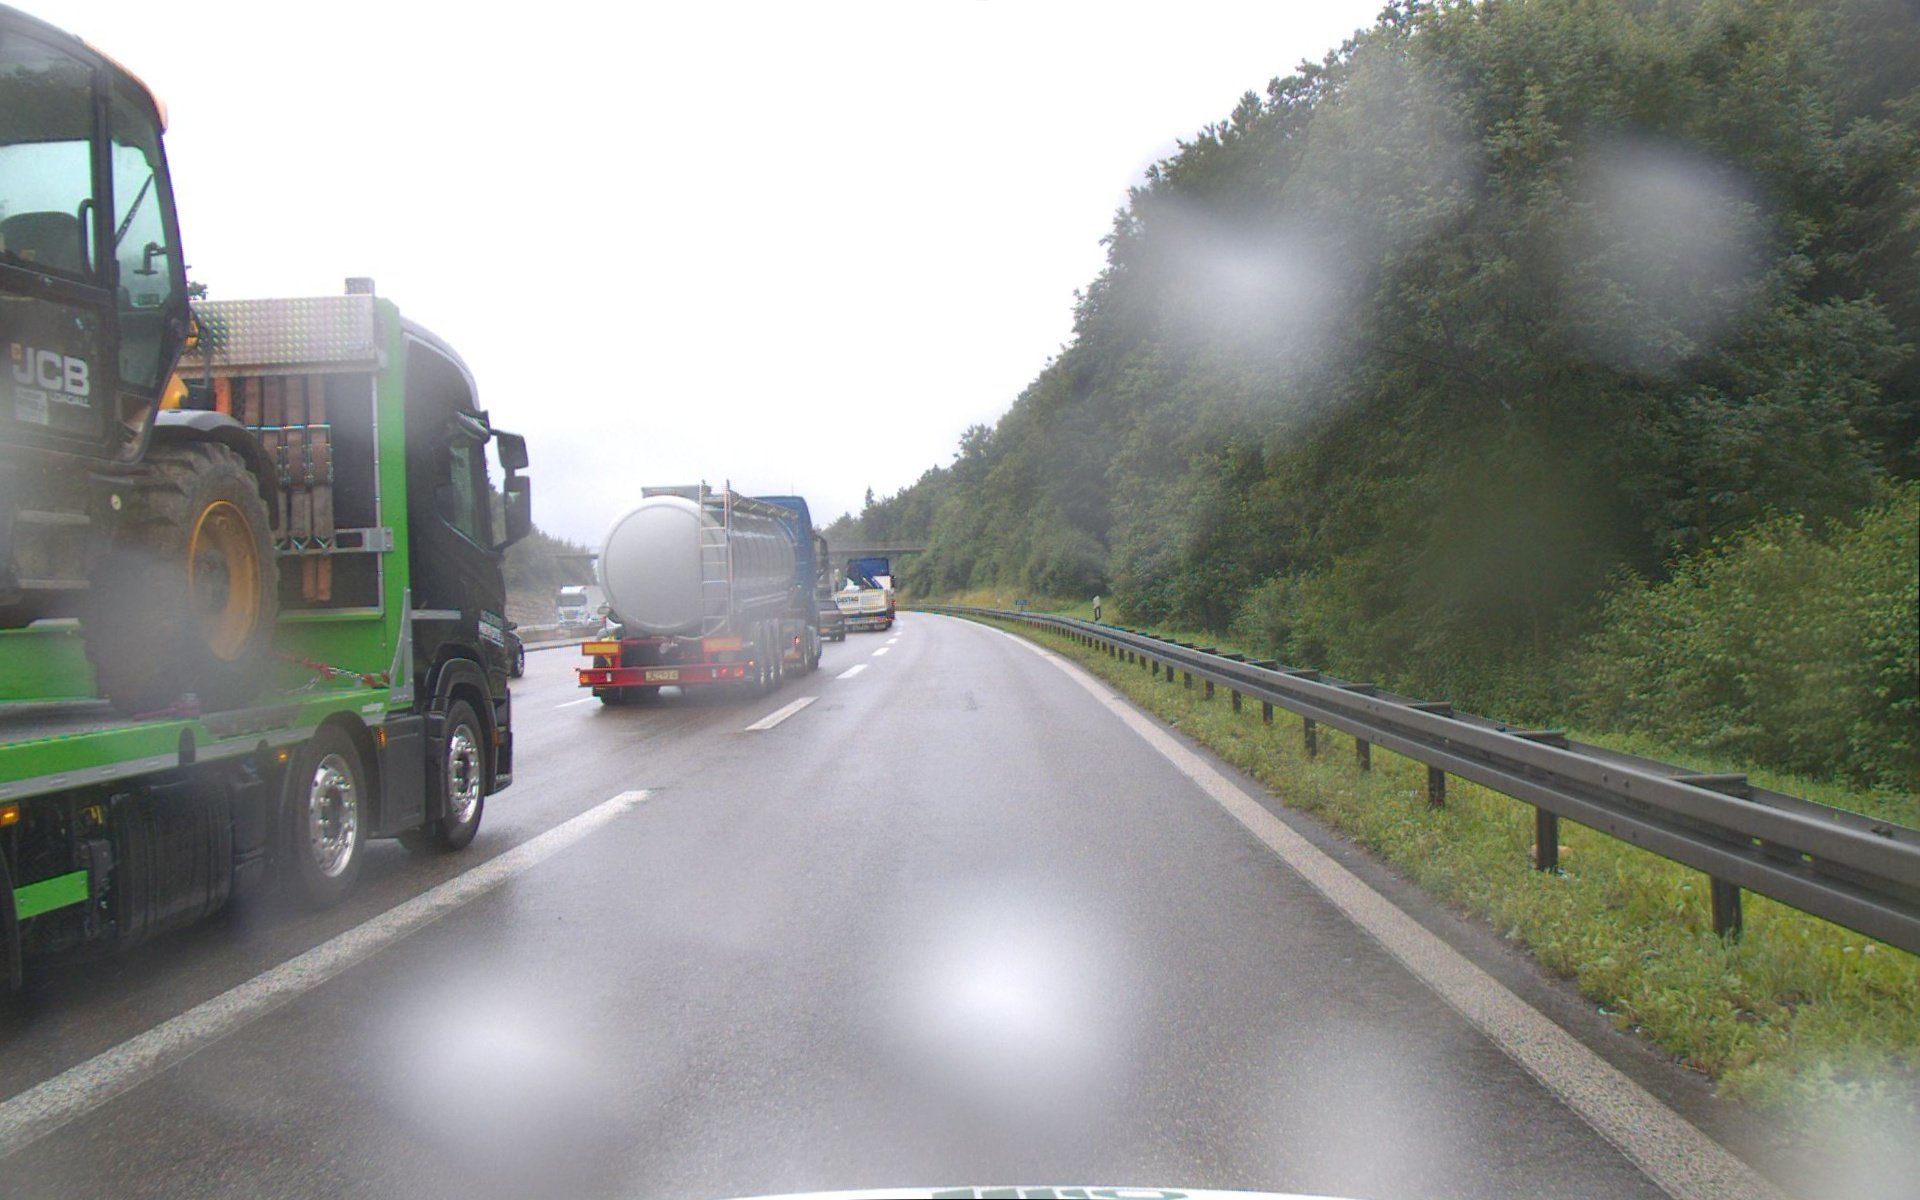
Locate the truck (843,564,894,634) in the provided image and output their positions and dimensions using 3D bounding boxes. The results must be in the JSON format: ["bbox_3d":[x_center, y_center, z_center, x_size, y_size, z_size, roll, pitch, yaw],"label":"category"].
[{"bbox_3d":[-8.086,0.036,146.934,4.249,5.865,9.724,2,-2,-3],"label":"truck"}]

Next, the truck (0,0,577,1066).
[{"bbox_3d":[-4.296,-0.371,5.679,2.772,3.651,11.799,-3,0,2],"label":"truck"}]

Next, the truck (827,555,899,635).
[{"bbox_3d":[-5.653,-0.182,98.474,3.435,4.343,10.602,1,-2,0],"label":"truck"}]

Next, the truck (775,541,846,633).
[{"bbox_3d":[-9.847,-0.733,110.000,3.678,5.596,10.170,1,-2,0],"label":"truck"}]

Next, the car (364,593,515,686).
[{"bbox_3d":[-11.225,0.810,35.947,1.953,1.830,4.153,-2,0,-1],"label":"car"}]

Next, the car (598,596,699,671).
[{"bbox_3d":[-7.895,0.832,42.294,1.782,1.798,4.000,-1,0,0],"label":"car"}]

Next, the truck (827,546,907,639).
[{"bbox_3d":[-4.543,-0.341,82.643,3.528,4.176,11.554,-2,0,-2],"label":"truck"}]

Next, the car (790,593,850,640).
[{"bbox_3d":[-5.253,0.664,62.651,1.953,1.665,3.998,2,-2,-1],"label":"car"}]

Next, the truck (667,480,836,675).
[{"bbox_3d":[-4.306,-0.460,35.180,2.818,3.758,5.056,-2,0,0],"label":"truck"}]

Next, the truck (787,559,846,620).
[{"bbox_3d":[-10.771,-0.704,125.456,3.503,4.167,10.876,-2,-2,-1],"label":"truck"}]

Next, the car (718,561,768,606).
[{"bbox_3d":[-9.941,-0.723,76.073,1.760,1.870,3.999,1,-2,0],"label":"car"}]

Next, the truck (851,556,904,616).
[{"bbox_3d":[-6.183,-0.991,125.298,3.679,4.040,11.053,2,-2,-2],"label":"truck"}]

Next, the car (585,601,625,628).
[{"bbox_3d":[-28.096,1.162,131.019,2.009,1.911,5.246,1,-2,0],"label":"car"}]

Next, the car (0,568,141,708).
[{"bbox_3d":[-14.830,0.584,25.946,1.760,2.049,4.001,1,-2,2],"label":"car"}]

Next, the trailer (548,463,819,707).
[{"bbox_3d":[-4.318,-0.227,28.308,2.815,3.346,10.077,-2,0,0],"label":"trailer"}]

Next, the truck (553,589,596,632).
[{"bbox_3d":[-37.320,0.968,160.332,2.400,4.017,7.238,-1,0,0],"label":"truck"}]
